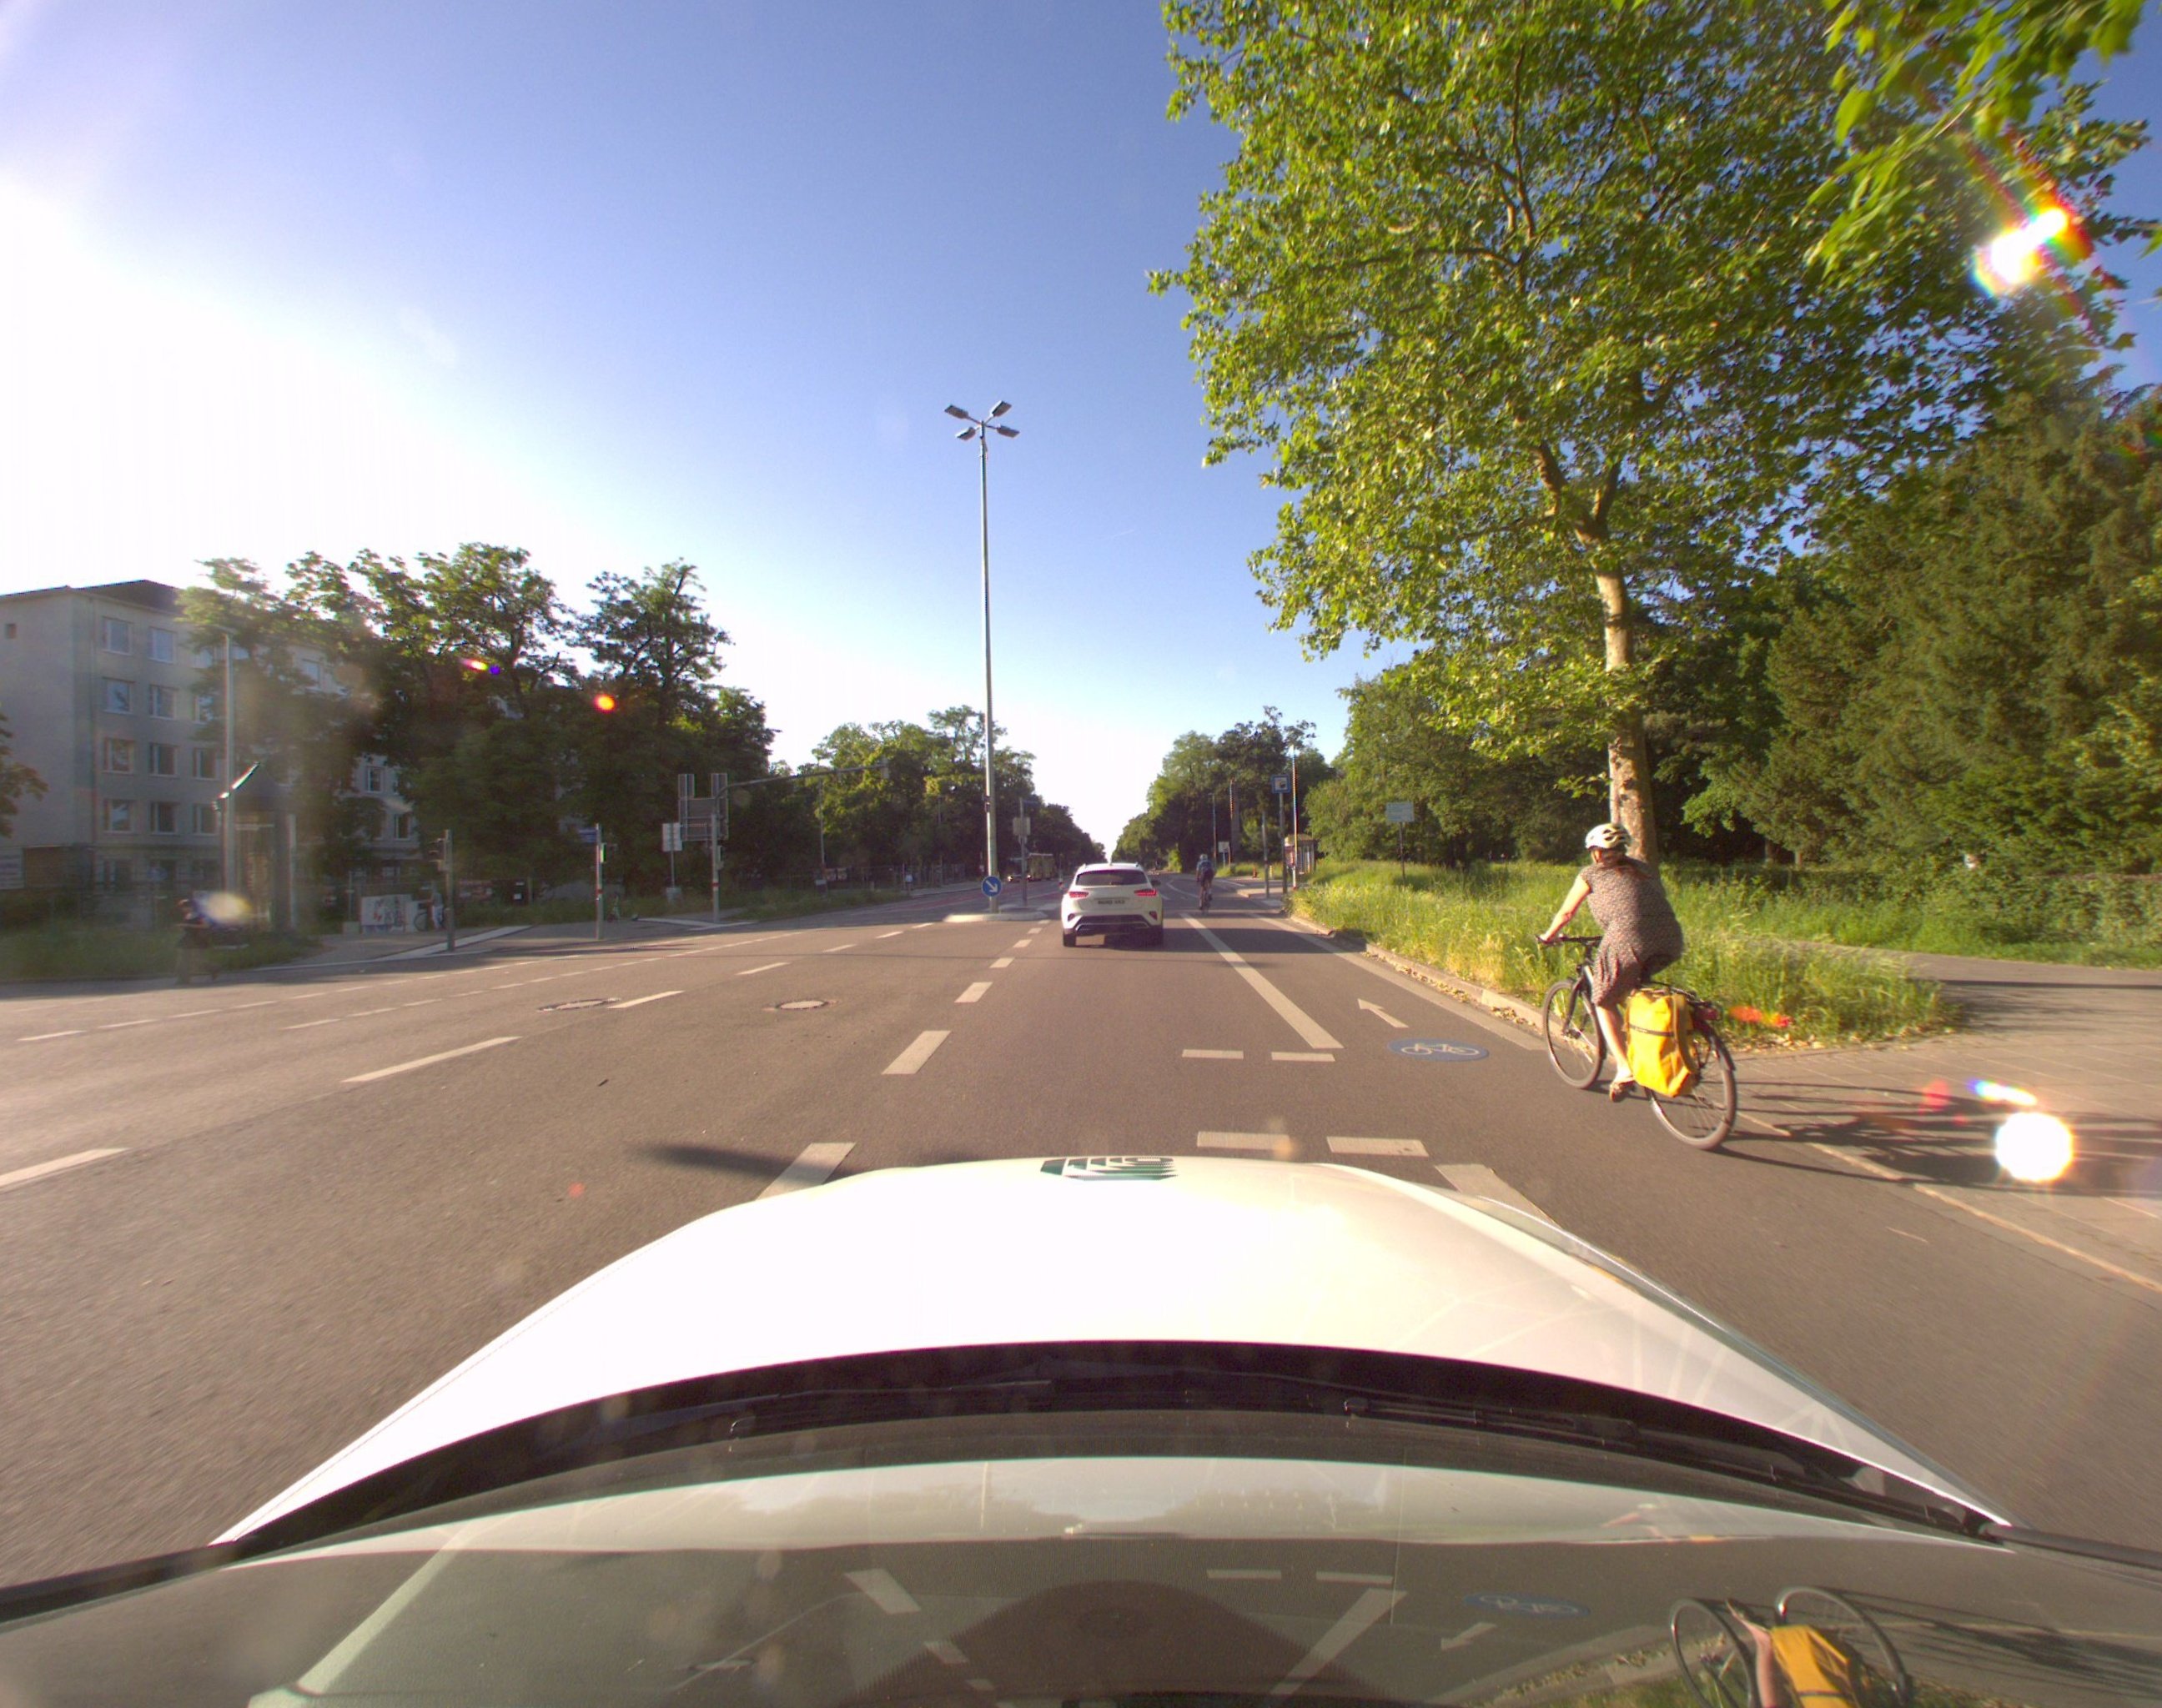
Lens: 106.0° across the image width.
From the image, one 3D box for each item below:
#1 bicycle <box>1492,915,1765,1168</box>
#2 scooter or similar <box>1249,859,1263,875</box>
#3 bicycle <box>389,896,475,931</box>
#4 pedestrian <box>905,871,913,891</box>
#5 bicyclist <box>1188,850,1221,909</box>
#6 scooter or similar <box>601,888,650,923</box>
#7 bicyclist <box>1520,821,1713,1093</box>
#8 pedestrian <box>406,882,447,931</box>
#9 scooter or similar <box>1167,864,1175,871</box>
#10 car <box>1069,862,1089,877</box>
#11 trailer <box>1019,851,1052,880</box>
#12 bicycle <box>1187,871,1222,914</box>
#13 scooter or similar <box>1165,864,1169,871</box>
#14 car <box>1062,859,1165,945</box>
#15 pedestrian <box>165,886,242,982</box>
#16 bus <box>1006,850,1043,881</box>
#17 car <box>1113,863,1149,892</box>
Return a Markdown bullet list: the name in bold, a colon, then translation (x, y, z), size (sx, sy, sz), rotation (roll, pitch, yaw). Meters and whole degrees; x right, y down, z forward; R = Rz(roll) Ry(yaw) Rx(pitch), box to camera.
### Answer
- **bicycle**: translation (3.256, 1.013, 5.125), size (0.688, 1.095, 2.144), rotation (-3, -1, 14)
- **scooter or similar**: translation (13.797, 1.032, 64.228), size (0.715, 1.248, 1.336), rotation (-4, -2, 26)
- **bicycle**: translation (-24.182, 2.213, 30.375), size (2.556, 1.136, 0.982), rotation (-2, -1, 7)
- **pedestrian**: translation (-13.347, 2.109, 63.085), size (0.449, 1.534, 0.571), rotation (-2, -1, -1)
- **bicyclist**: translation (3.389, 0.694, 22.313), size (0.855, 1.567, 0.883), rotation (-1, -1, 8)
- **scooter or similar**: translation (-17.934, 2.026, 32.112), size (0.686, 1.294, 1.505), rotation (-3, -1, 32)
- **bicyclist**: translation (3.187, 0.580, 4.934), size (0.688, 1.490, 0.803), rotation (-3, -1, 14)
- **pedestrian**: translation (-24.040, 1.920, 29.904), size (0.971, 1.696, 0.644), rotation (-2, -1, 7)
- **scooter or similar**: translation (16.348, 2.460, 148.102), size (1.549, 1.250, 0.528), rotation (-1, -1, -41)
- **car**: translation (-0.172, 1.635, 86.778), size (1.703, 1.421, 4.560), rotation (-2, 0, 5)
- **trailer**: translation (-5.551, 1.457, 101.283), size (2.841, 3.356, 9.374), rotation (0, -1, 5)
- **bicycle**: translation (3.397, 1.035, 22.480), size (0.886, 1.095, 2.141), rotation (-1, -1, 8)
- **scooter or similar**: translation (17.528, 2.761, 165.932), size (0.531, 1.250, 1.542), rotation (-2, -1, 3)
- **car**: translation (0.523, 0.854, 15.830), size (1.756, 1.459, 3.815), rotation (0, -1, -1)
- **pedestrian**: translation (-17.360, 1.573, 16.127), size (0.738, 1.816, 0.729), rotation (-2, -1, 11)
- **bus**: translation (-6.336, 1.326, 92.347), size (2.827, 3.197, 8.609), rotation (-2, -1, 4)
- **car**: translation (2.683, 1.211, 43.142), size (1.668, 1.418, 3.579), rotation (-2, -1, 6)
